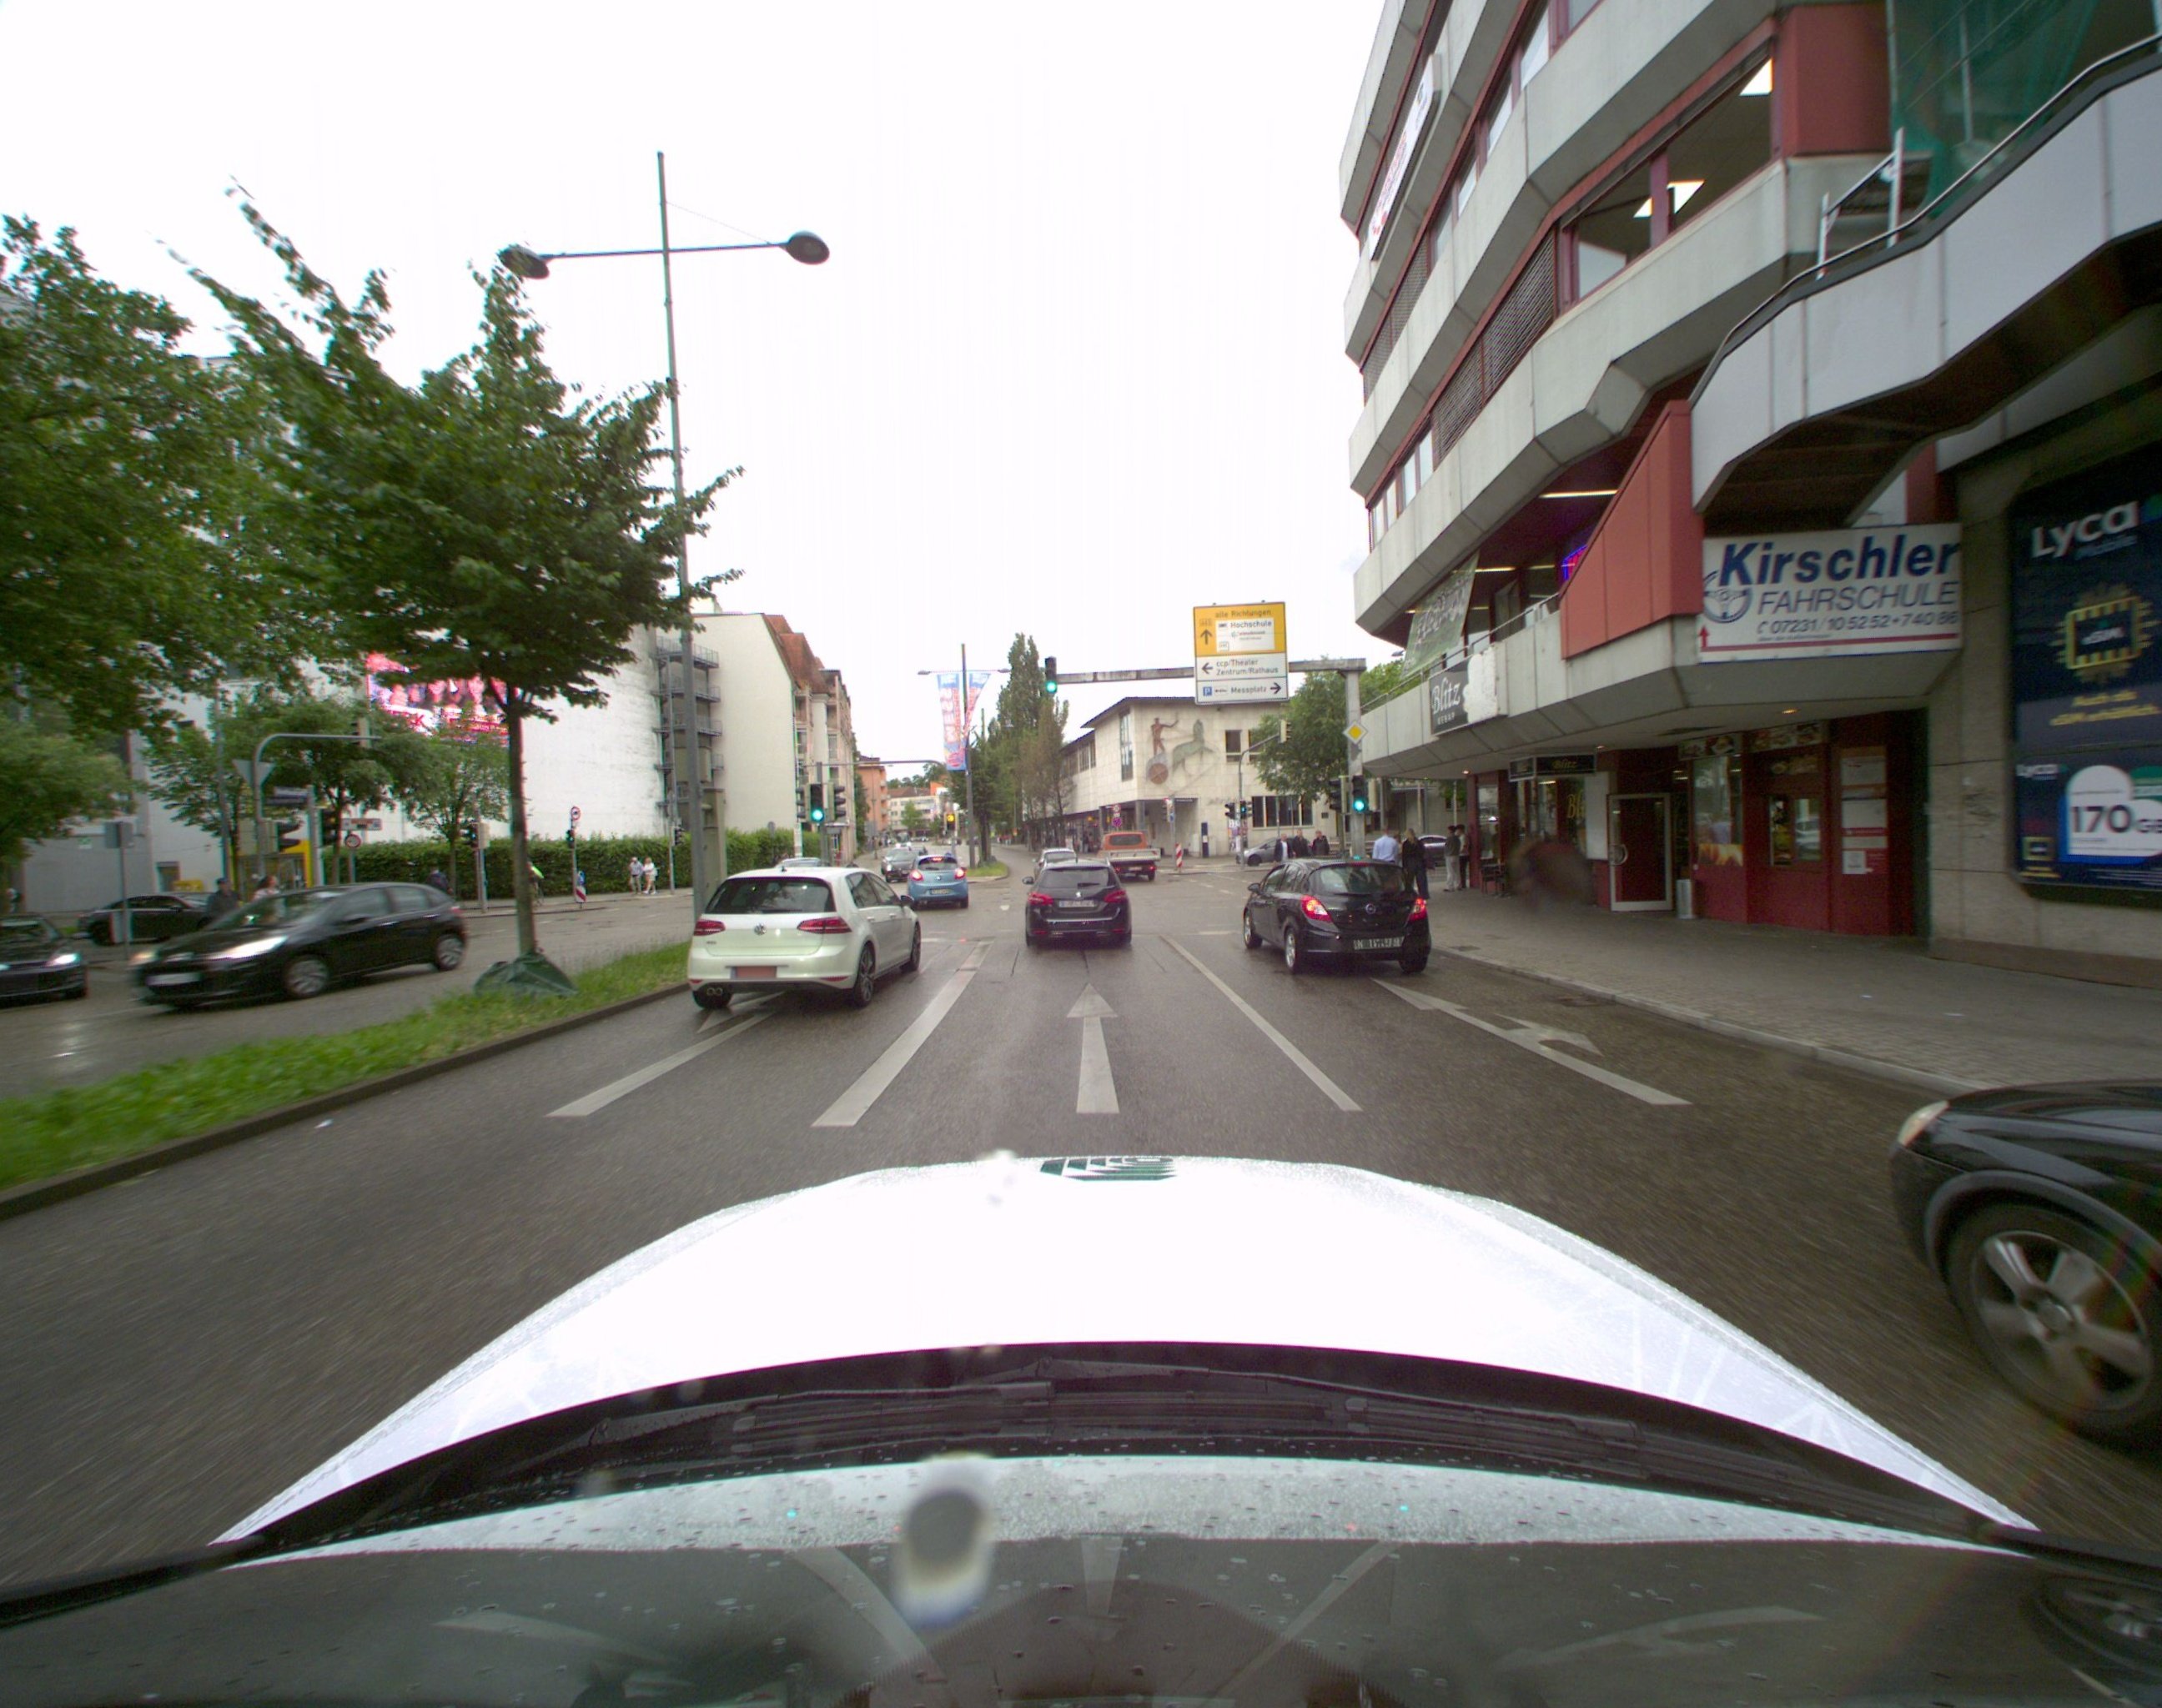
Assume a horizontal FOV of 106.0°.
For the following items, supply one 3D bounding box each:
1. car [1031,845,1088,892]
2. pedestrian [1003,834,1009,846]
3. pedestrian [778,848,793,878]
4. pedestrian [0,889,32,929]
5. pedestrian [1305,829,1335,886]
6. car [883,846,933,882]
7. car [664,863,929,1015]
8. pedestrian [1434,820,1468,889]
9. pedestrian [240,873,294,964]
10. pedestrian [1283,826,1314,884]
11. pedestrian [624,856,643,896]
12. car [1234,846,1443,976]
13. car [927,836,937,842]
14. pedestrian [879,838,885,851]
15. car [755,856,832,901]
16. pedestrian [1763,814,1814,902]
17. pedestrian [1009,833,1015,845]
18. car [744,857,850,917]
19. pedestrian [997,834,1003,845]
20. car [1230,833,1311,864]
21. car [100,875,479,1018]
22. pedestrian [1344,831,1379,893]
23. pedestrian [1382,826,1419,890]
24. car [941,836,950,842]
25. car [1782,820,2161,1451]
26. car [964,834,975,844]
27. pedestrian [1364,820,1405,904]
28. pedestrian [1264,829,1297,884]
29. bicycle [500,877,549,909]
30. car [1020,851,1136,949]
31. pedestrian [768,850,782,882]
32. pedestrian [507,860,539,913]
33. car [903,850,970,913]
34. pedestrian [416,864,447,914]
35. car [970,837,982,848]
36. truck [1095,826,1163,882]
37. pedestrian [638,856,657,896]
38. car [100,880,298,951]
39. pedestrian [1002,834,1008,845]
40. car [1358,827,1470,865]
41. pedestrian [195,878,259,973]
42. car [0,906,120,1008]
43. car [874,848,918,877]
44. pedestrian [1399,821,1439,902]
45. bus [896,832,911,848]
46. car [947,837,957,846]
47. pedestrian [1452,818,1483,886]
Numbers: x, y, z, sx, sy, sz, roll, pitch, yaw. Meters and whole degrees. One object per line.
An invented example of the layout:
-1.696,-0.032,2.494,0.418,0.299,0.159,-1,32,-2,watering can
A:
-0.849,0.460,29.367,1.792,1.483,3.994,-3,1,-5,car
-10.925,-2.041,118.925,0.654,1.767,0.919,-4,2,-12,pedestrian
-17.276,0.535,47.574,0.640,1.764,0.591,-2,-2,-4,pedestrian
-44.497,2.308,34.019,0.554,1.600,0.530,-3,1,6,pedestrian
8.149,0.115,27.776,0.730,1.895,0.676,-3,-1,-1,pedestrian
-8.333,0.456,39.480,1.618,1.555,3.658,-3,1,-1,car
-3.085,0.827,9.767,1.759,1.409,3.999,0,0,0,car
9.726,0.017,21.409,0.593,1.763,0.493,-2,-1,1,pedestrian
-16.983,1.332,17.007,0.446,1.837,0.675,-2,-2,-4,pedestrian
7.393,0.044,27.751,0.756,1.901,0.790,-3,-1,0,pedestrian
-20.236,1.000,36.835,0.525,1.764,0.592,0,1,-2,pedestrian
3.395,0.655,11.473,1.703,1.457,3.741,-1,1,-1,car
-46.290,-4.649,252.501,1.657,1.564,3.560,1,-2,-37,car
-28.222,-1.374,115.363,0.698,1.793,0.955,-2,1,-9,pedestrian
-11.479,0.938,32.775,1.667,1.515,3.643,-4,1,0,car
12.220,0.070,14.073,0.461,1.487,0.503,-3,-1,-39,pedestrian
-10.094,-2.178,119.048,0.699,1.801,0.604,-4,2,-13,pedestrian
-8.336,0.911,24.294,1.708,1.478,3.956,-4,0,-1,car
-12.442,-2.160,124.963,0.718,1.619,0.766,-4,2,-13,pedestrian
9.710,-0.282,41.873,3.960,1.476,2.007,-1,0,11,car
-11.064,1.173,11.855,1.613,1.491,3.878,-5,0,0,car
7.782,0.213,22.625,0.571,1.663,0.941,-4,1,2,pedestrian
8.855,0.090,22.608,0.586,1.706,0.971,-4,1,2,pedestrian
-40.362,-4.393,242.393,1.997,1.683,3.981,-3,2,-14,car
3.280,0.670,1.093,1.586,1.440,3.628,-2,2,0,car
-19.750,-2.626,144.179,1.646,1.564,3.585,0,-1,-12,car
6.859,0.183,18.424,0.619,1.847,0.849,-2,-1,6,pedestrian
6.619,0.081,27.051,0.747,1.779,0.887,-3,-1,-4,pedestrian
-22.042,1.541,32.306,0.649,1.110,2.054,-2,1,-5,bicycle
-0.052,0.712,14.746,1.789,1.483,3.999,-1,0,-1,car
-17.231,0.662,45.814,0.525,1.764,0.630,-2,-2,-4,pedestrian
-19.015,1.106,27.769,0.646,1.764,0.591,-2,-2,-5,pedestrian
-4.221,0.719,23.574,1.697,1.474,3.676,-3,2,-12,car
-23.634,1.275,29.626,0.799,1.781,0.645,-1,-2,-45,pedestrian
-16.699,-1.845,129.291,1.646,1.564,3.585,0,-1,-12,car
1.872,-0.017,33.269,2.118,2.025,4.709,-3,1,-4,truck
-19.675,0.989,36.940,0.525,1.764,0.592,1,0,-2,pedestrian
-25.862,1.762,23.997,3.589,1.695,1.632,-3,2,-9,car
-11.674,-2.202,125.084,0.726,1.589,0.604,-4,2,-13,pedestrian
14.501,-0.348,35.474,4.264,1.419,1.780,-3,1,-13,car
-16.831,1.390,16.059,0.410,1.763,0.676,-2,2,-2,pedestrian
-17.599,1.665,13.229,4.369,1.396,1.946,-4,0,33,car
-11.887,0.518,52.693,1.822,1.736,4.309,-3,1,-1,car
7.584,0.163,18.307,0.619,1.773,0.678,-2,-1,6,pedestrian
-37.765,-3.087,173.291,2.748,3.074,12.181,-3,3,-14,bus
-24.908,-2.324,157.072,1.646,1.564,3.585,0,-1,-12,car
10.284,-0.047,21.657,0.524,1.763,0.511,-2,-1,1,pedestrian
